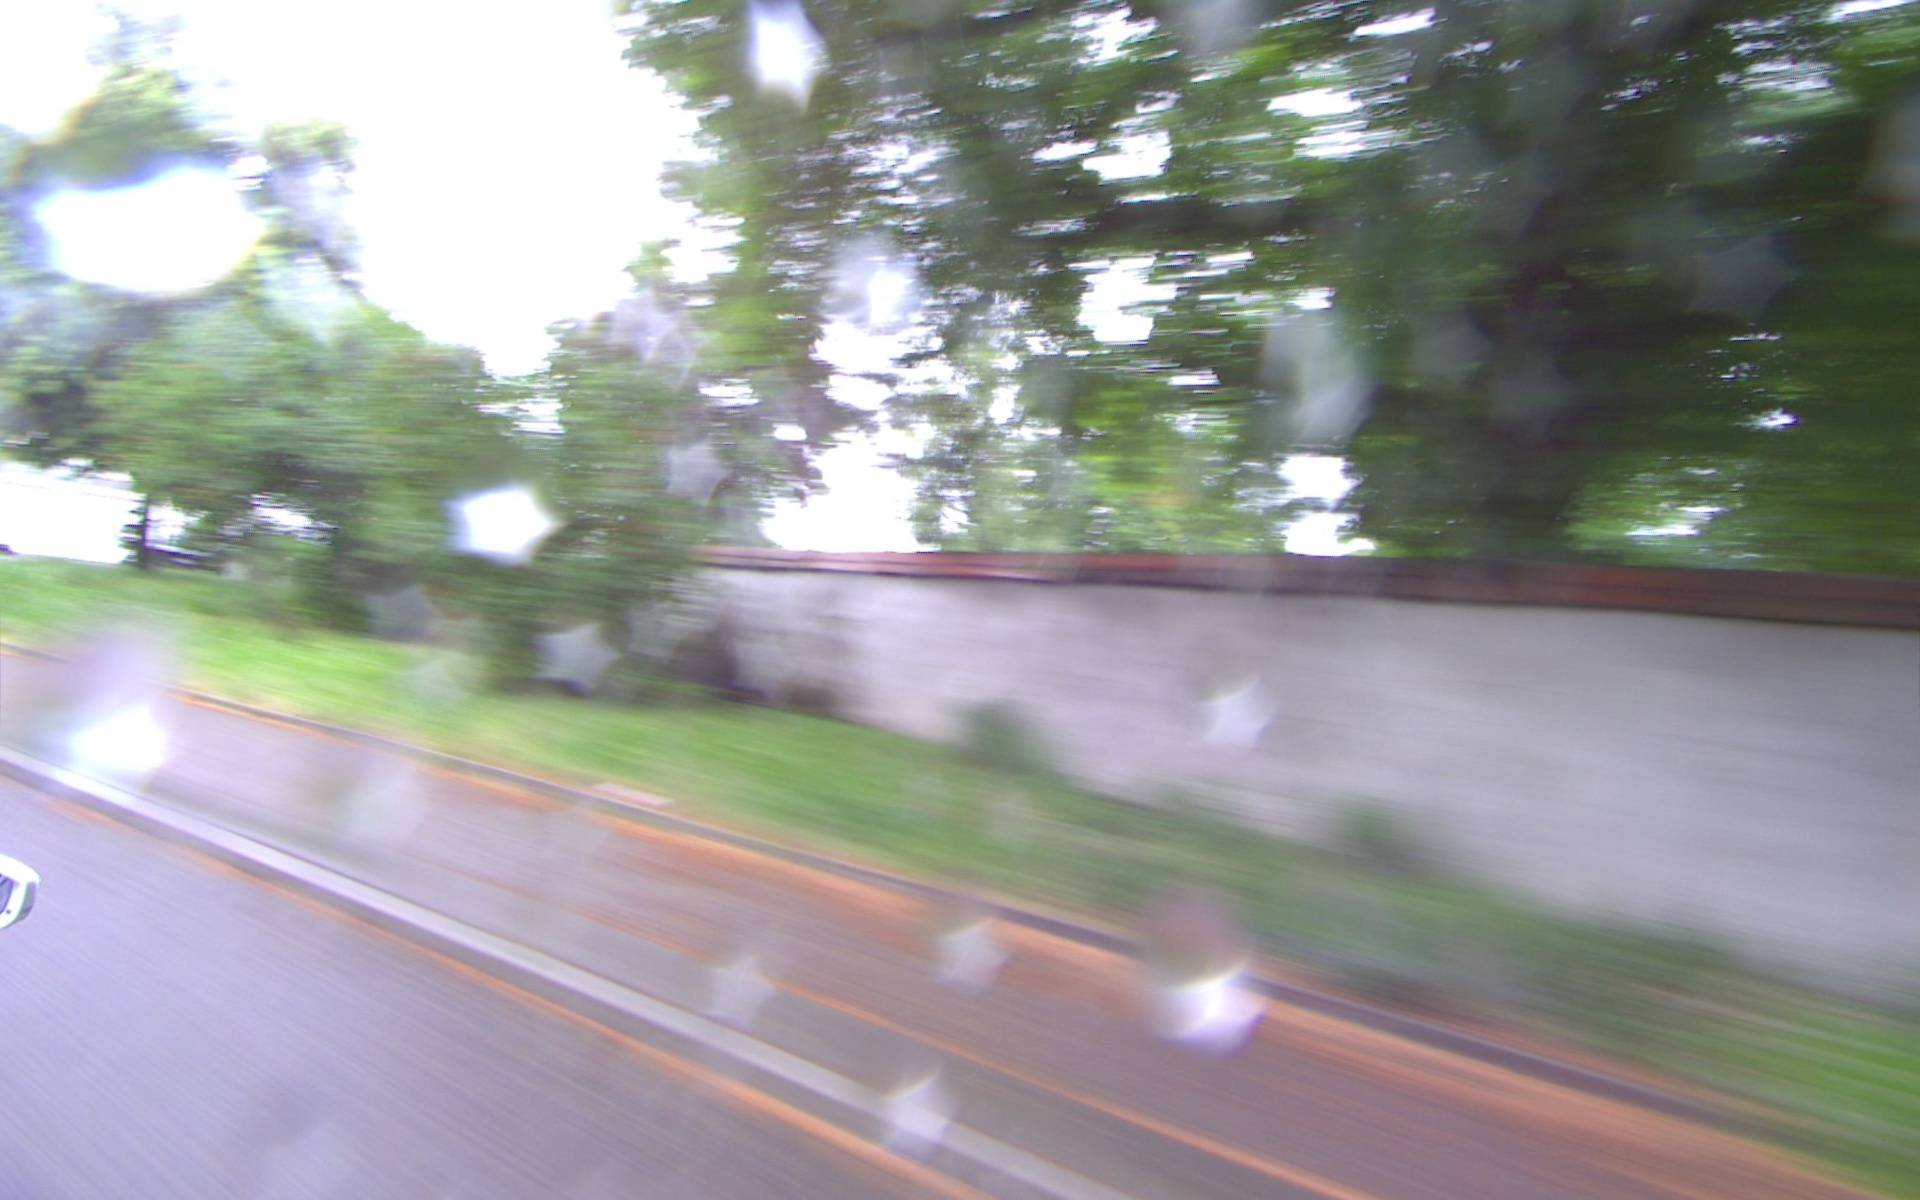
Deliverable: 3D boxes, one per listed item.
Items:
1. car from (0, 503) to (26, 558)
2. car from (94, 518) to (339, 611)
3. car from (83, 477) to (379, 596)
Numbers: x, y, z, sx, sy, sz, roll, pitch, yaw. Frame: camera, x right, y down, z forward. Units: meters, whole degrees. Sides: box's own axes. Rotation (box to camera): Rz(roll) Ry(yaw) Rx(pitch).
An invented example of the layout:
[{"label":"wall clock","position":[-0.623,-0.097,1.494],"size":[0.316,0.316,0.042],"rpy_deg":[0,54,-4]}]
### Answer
[{"label":"car","position":[-28.750,-2.147,29.089],"size":[1.983,1.548,3.960],"rpy_deg":[7,-1,-37]},{"label":"car","position":[-17.332,-0.789,23.631],"size":[1.806,1.458,4.178],"rpy_deg":[6,-3,37]},{"label":"car","position":[-12.924,-1.067,17.981],"size":[3.977,1.472,1.831],"rpy_deg":[8,-2,-45]}]
